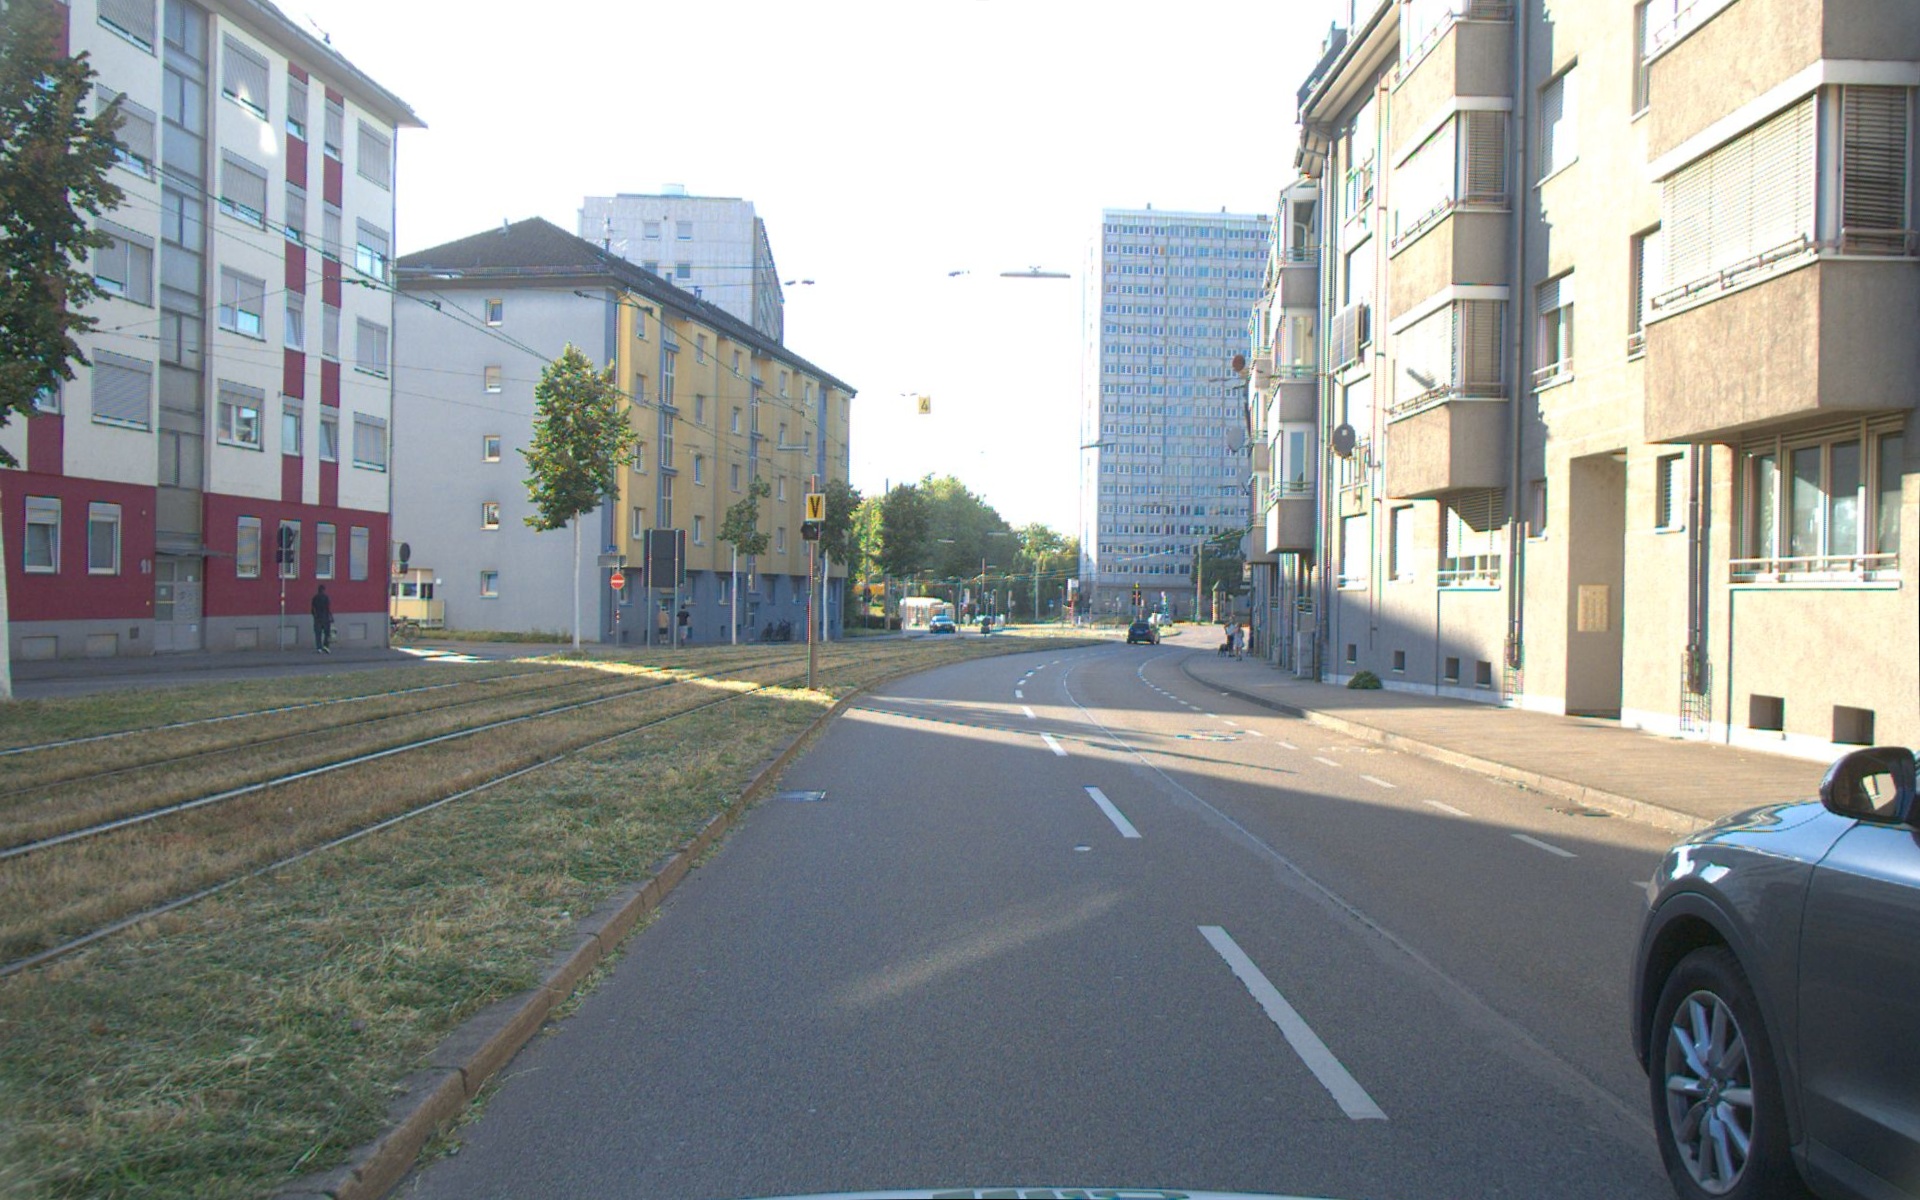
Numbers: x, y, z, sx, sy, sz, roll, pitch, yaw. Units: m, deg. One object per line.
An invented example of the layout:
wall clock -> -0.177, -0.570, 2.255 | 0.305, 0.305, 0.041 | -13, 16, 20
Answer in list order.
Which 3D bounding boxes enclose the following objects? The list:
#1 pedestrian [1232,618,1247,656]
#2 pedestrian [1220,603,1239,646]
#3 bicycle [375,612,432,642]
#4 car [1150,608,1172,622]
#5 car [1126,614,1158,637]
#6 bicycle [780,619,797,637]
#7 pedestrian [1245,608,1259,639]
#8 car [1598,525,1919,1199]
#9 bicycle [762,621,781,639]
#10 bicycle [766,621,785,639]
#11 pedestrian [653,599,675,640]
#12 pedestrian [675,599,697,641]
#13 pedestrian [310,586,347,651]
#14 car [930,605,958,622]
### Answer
pedestrian -> 10.091, 1.351, 59.709 | 0.503, 1.368, 0.609 | 0, -1, 6
pedestrian -> 11.575, 1.048, 71.085 | 0.812, 1.803, 0.997 | 0, 0, 9
bicycle -> -21.181, 1.030, 62.967 | 1.918, 1.094, 0.602 | 1, -1, -8
car -> 22.552, 1.694, 185.863 | 1.953, 1.557, 3.999 | 0, 0, -1
car -> 11.896, 1.641, 107.802 | 1.734, 1.447, 3.859 | 0, 0, 11
bicycle -> -9.689, 1.580, 93.404 | 0.418, 0.977, 1.913 | 1, -1, 11
pedestrian -> 12.413, 0.997, 70.395 | 0.574, 1.273, 0.585 | 0, 0, 9
car -> 2.710, 0.678, 2.701 | 1.730, 1.615, 4.067 | 1, 0, -1
bicycle -> -10.228, 1.620, 89.626 | 0.418, 0.941, 1.913 | 4, 0, 11
bicycle -> -10.142, 1.623, 90.905 | 0.418, 0.941, 1.913 | 4, 0, 11
pedestrian -> -13.054, 0.862, 72.932 | 0.603, 1.723, 0.707 | 5, 0, 9
pedestrian -> -12.162, 0.877, 73.488 | 0.580, 1.803, 0.886 | 5, 0, 9
pedestrian -> -16.957, 0.497, 44.438 | 0.600, 1.719, 0.792 | 1, 0, 4
car -> -1.442, 1.240, 148.995 | 1.755, 1.495, 4.799 | -1, -1, 9
